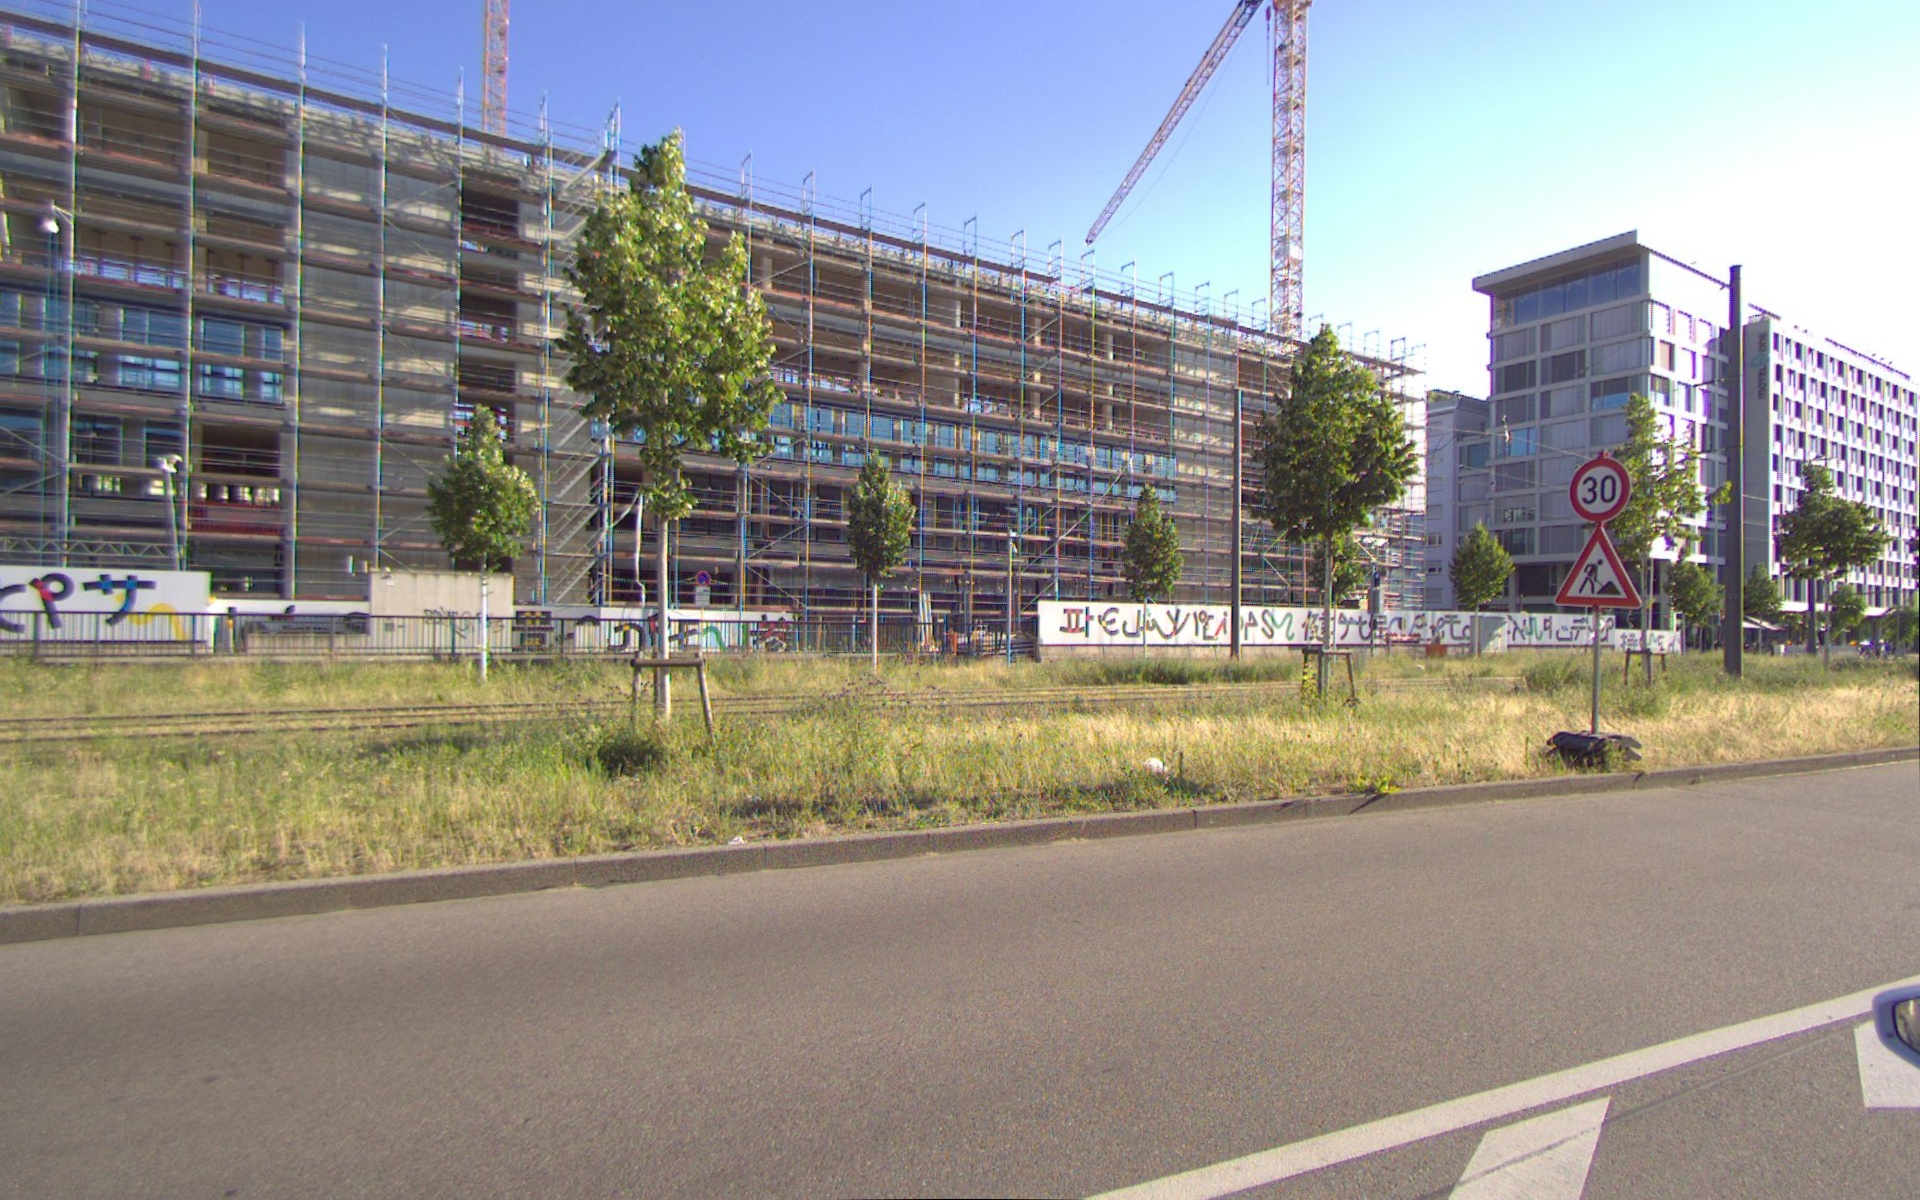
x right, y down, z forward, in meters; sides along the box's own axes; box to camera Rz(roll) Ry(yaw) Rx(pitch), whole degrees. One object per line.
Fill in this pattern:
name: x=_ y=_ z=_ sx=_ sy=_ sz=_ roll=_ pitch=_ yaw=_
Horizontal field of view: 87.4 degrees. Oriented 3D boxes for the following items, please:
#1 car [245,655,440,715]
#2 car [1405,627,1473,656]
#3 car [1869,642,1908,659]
car: x=-15.398 y=2.084 z=25.275 sx=4.045 sy=1.327 sz=1.520 roll=1 pitch=-1 yaw=-30
car: x=25.914 y=2.269 z=54.320 sx=3.543 sy=1.461 sz=1.699 roll=2 pitch=0 yaw=-32
car: x=84.037 y=4.591 z=90.895 sx=3.543 sy=1.461 sz=1.699 roll=2 pitch=0 yaw=-32
